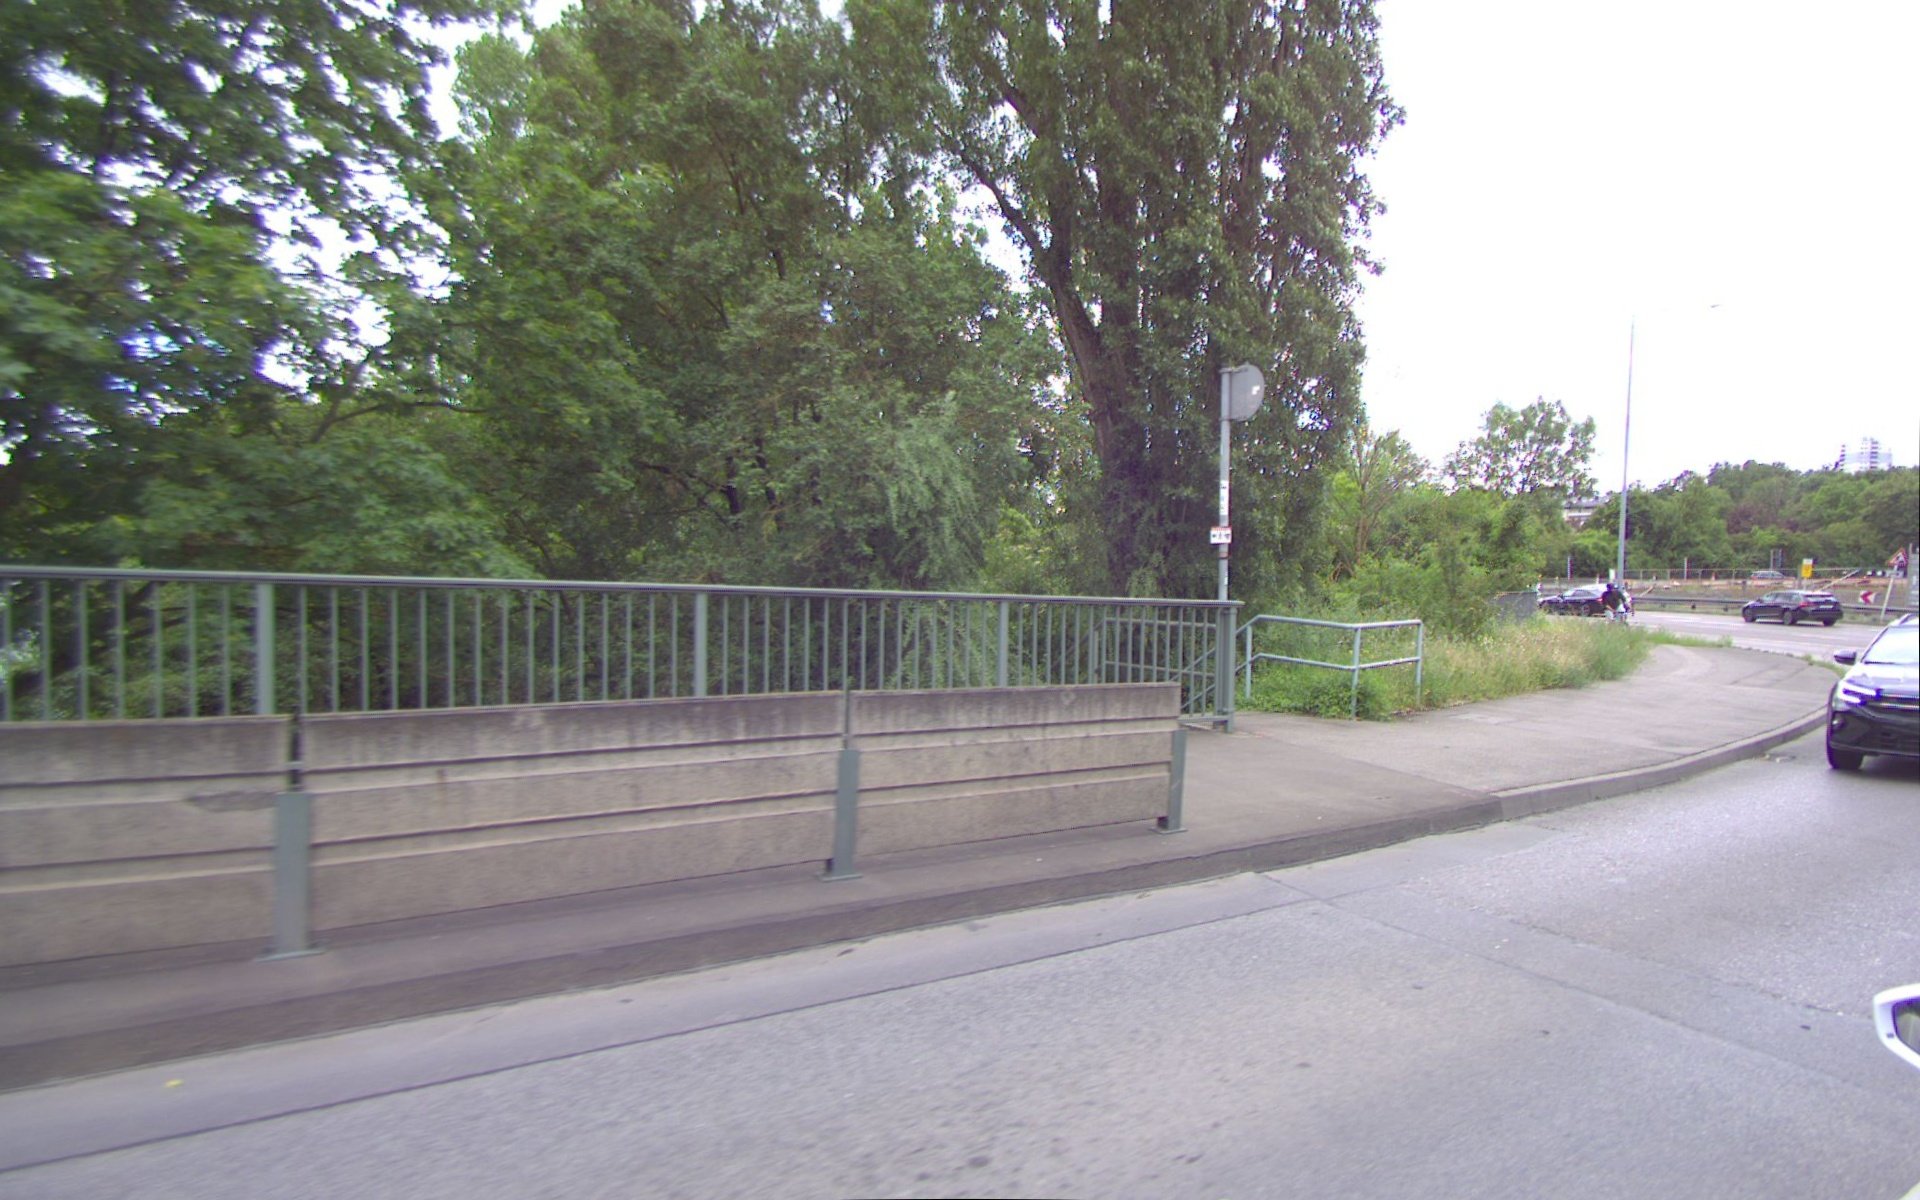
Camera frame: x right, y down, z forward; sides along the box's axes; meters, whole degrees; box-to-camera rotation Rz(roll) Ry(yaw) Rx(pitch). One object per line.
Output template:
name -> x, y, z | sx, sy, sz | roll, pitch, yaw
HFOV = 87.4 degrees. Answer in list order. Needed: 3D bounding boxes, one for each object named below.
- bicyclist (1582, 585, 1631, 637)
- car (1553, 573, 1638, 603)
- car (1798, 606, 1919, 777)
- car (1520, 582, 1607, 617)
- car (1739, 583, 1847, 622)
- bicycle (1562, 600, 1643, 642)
bicyclist -> 18.665, 0.305, 29.030 | 0.955, 1.450, 0.720 | -2, 2, 8
car -> 36.613, -0.699, 58.033 | 1.655, 1.628, 4.300 | 0, 1, -11
car -> 10.198, 0.832, 10.200 | 3.964, 1.530, 1.816 | 0, 0, -38
car -> 32.157, -0.046, 53.620 | 1.768, 1.574, 3.990 | -4, 3, -11
car -> 36.579, 0.084, 44.247 | 1.651, 1.628, 4.311 | 0, 1, 9
bicycle -> 18.723, 0.586, 29.334 | 0.967, 1.044, 2.642 | -2, 1, 8
